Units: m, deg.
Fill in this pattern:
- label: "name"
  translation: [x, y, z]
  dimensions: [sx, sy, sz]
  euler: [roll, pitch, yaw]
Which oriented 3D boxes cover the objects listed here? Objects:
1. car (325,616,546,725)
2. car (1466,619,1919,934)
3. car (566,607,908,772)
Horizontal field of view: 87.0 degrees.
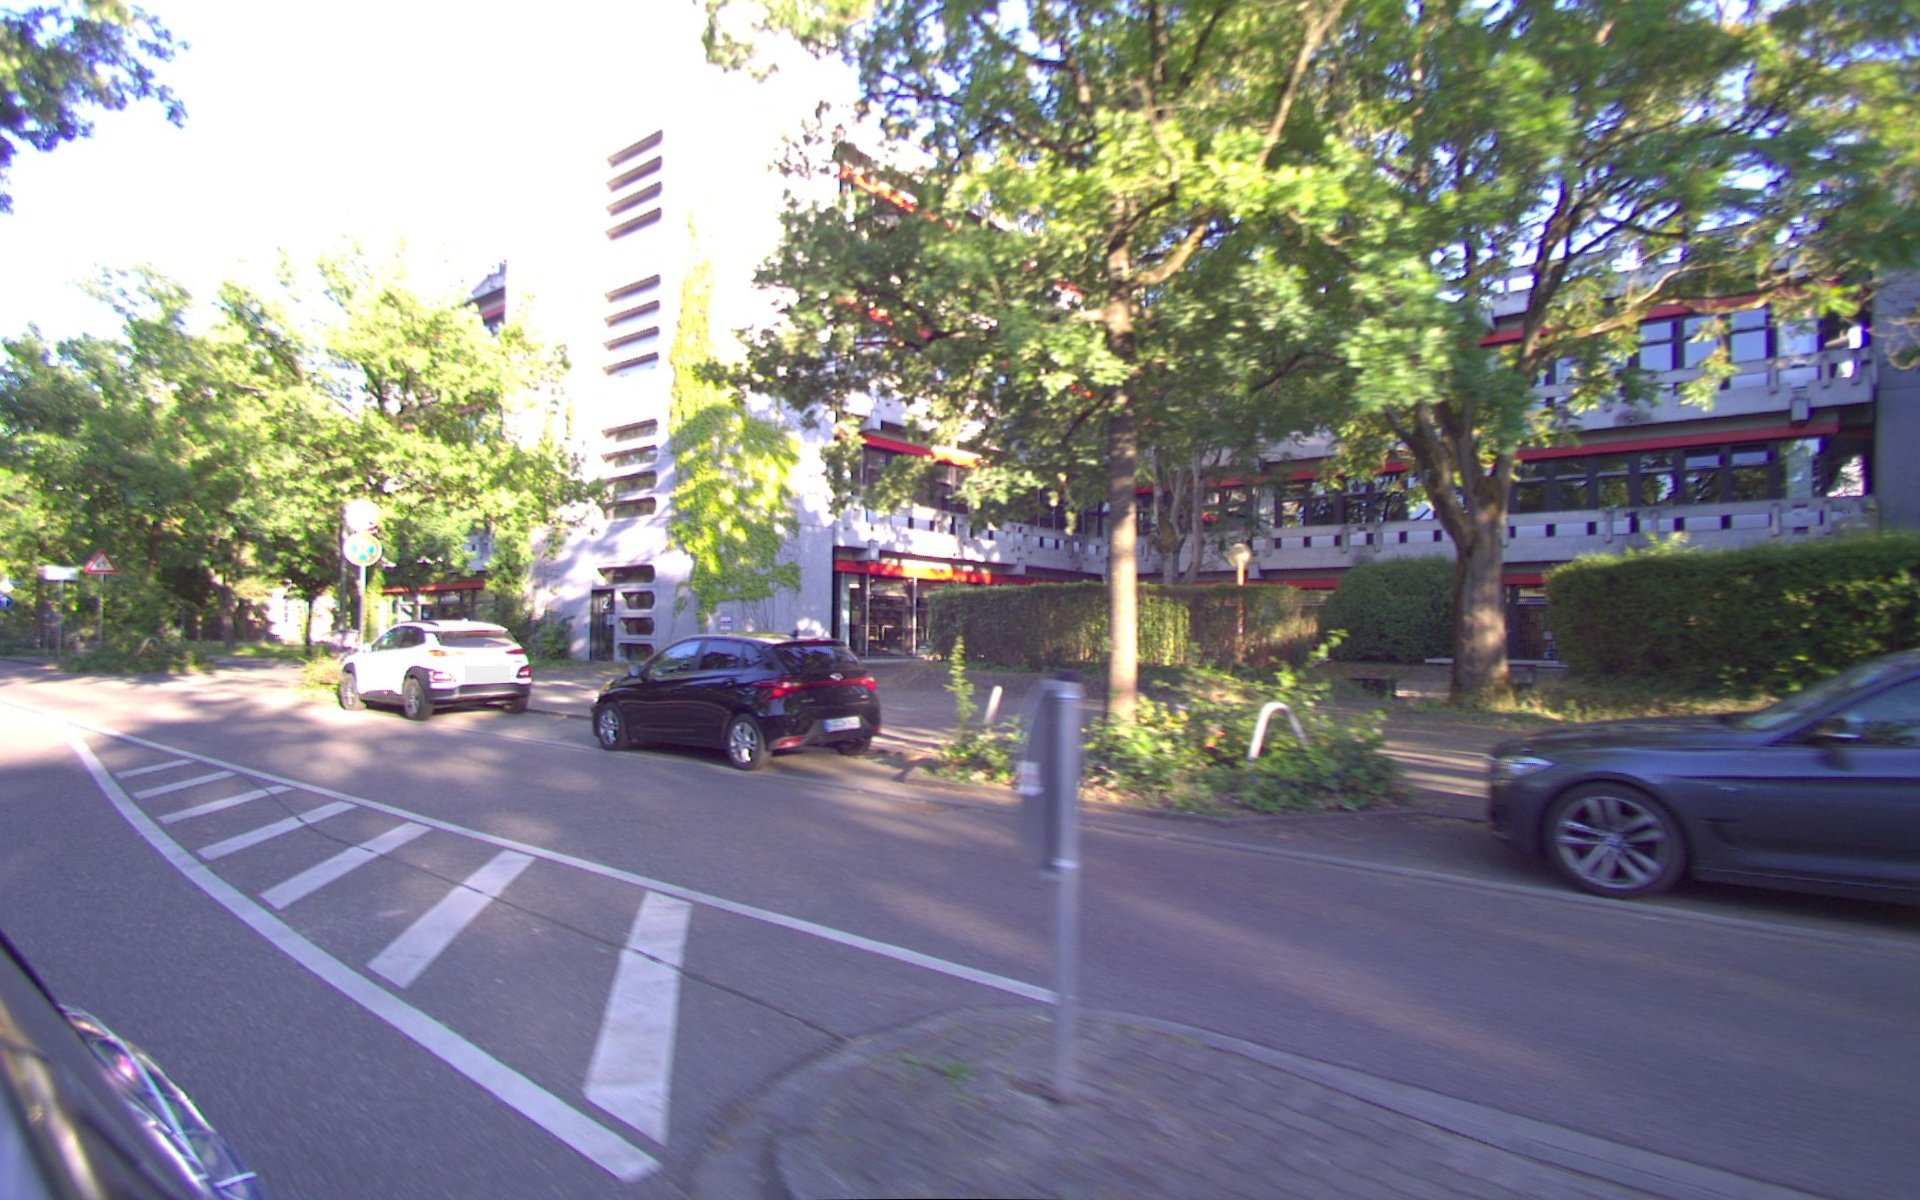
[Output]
- label: "car"
  translation: [-8.964, 1.103, 17.174]
  dimensions: [4.142, 1.628, 1.786]
  euler: [-1, -2, 39]
- label: "car"
  translation: [5.548, 0.874, 5.371]
  dimensions: [4.858, 1.522, 1.784]
  euler: [-1, -1, 40]
- label: "car"
  translation: [-2.739, 0.917, 11.982]
  dimensions: [4.142, 1.628, 1.762]
  euler: [-1, -1, 39]
